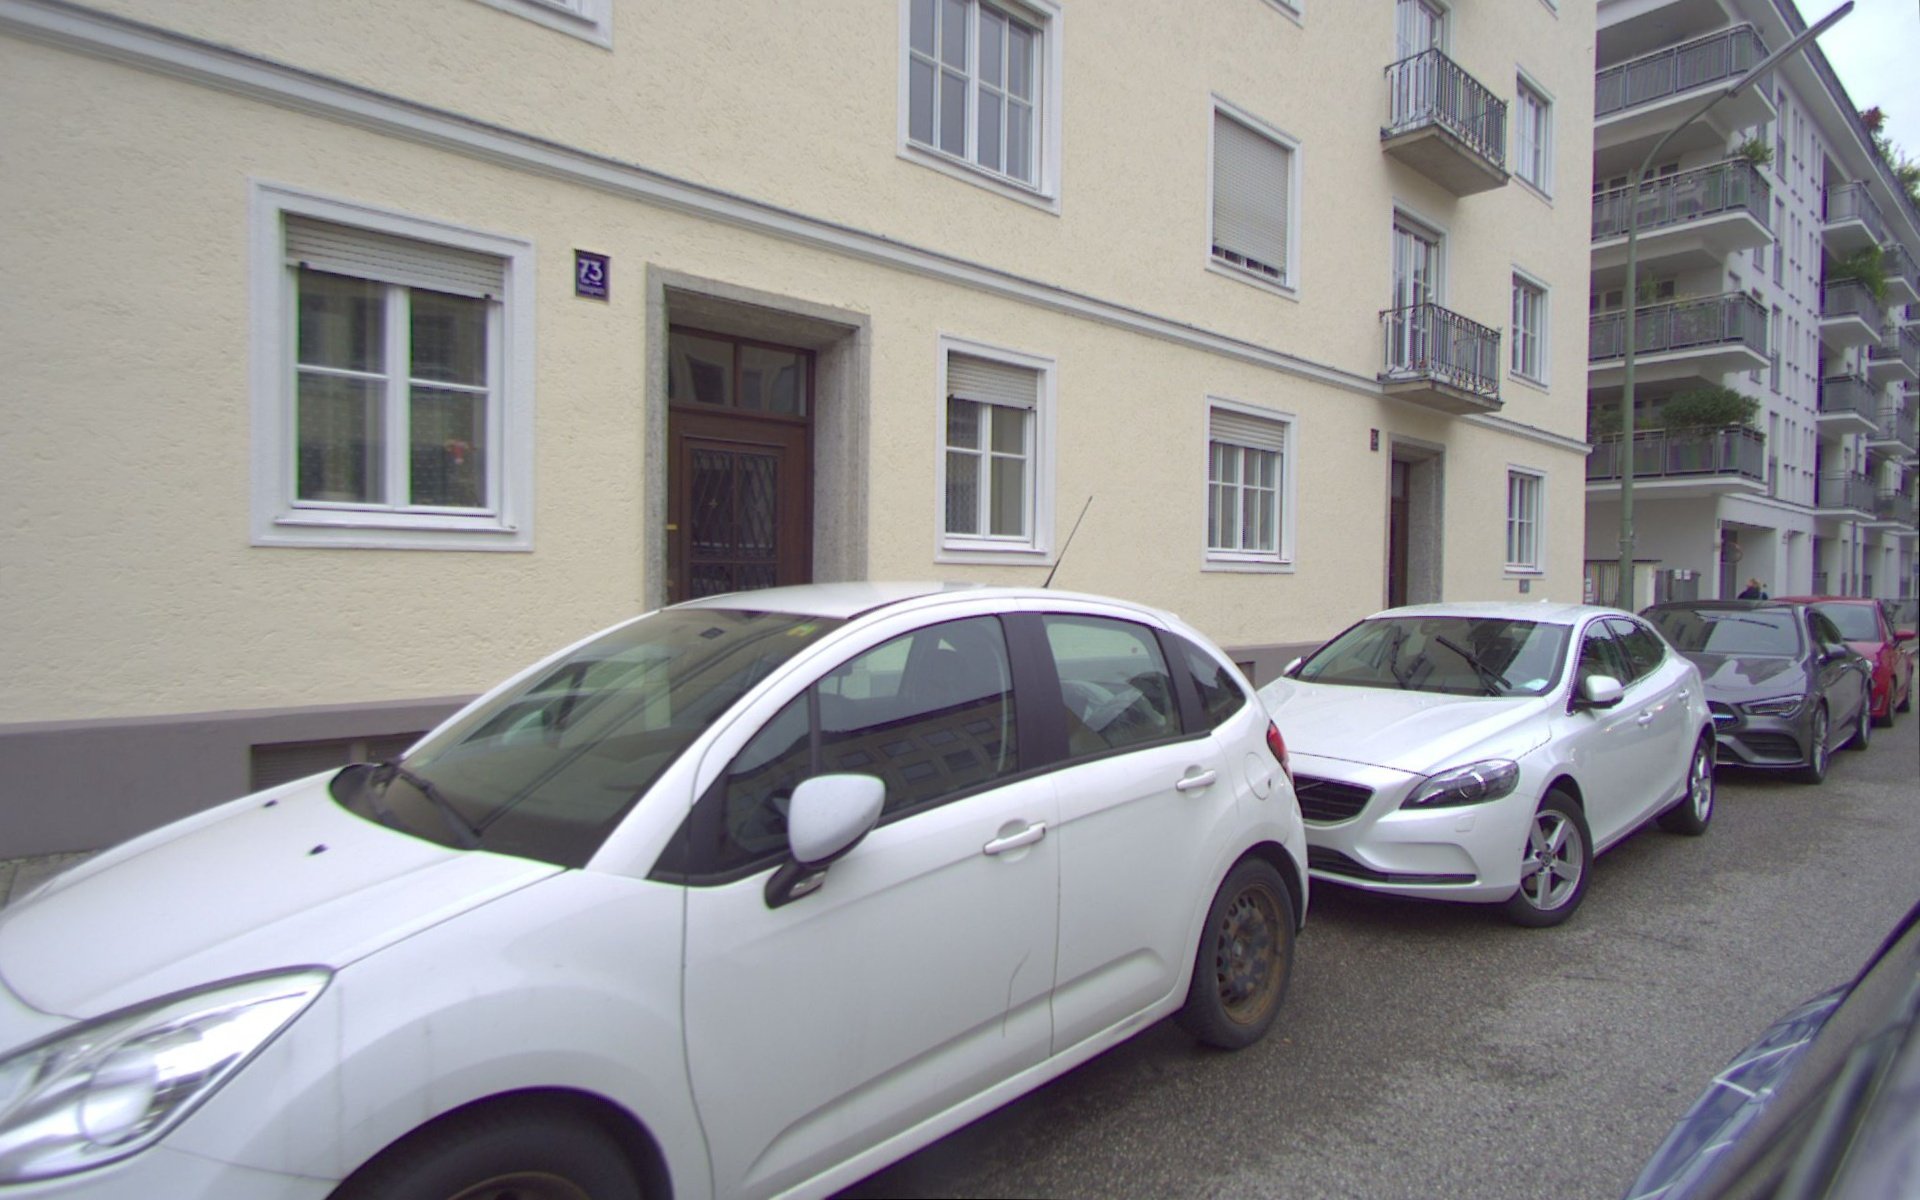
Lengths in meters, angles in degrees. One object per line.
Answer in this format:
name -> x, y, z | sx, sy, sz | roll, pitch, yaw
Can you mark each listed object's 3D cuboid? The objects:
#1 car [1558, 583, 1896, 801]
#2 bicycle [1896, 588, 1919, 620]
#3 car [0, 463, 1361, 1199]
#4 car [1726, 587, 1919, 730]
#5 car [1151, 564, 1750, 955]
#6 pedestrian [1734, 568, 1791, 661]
car -> 7.216, 0.628, 9.352 | 4.269, 1.510, 1.695 | -1, 3, -42
bicycle -> 37.199, 0.139, 39.610 | 2.091, 1.174, 0.628 | -1, 2, -43
car -> -0.458, 0.575, 2.990 | 3.734, 1.510, 1.601 | 0, 1, -43
car -> 11.263, 0.622, 12.899 | 3.733, 1.527, 1.599 | 0, 2, -40
car -> 3.123, 0.612, 5.977 | 4.209, 1.510, 1.695 | 1, 1, -42
pedestrian -> 15.646, 0.266, 19.731 | 0.794, 1.749, 0.662 | 0, 1, 44
